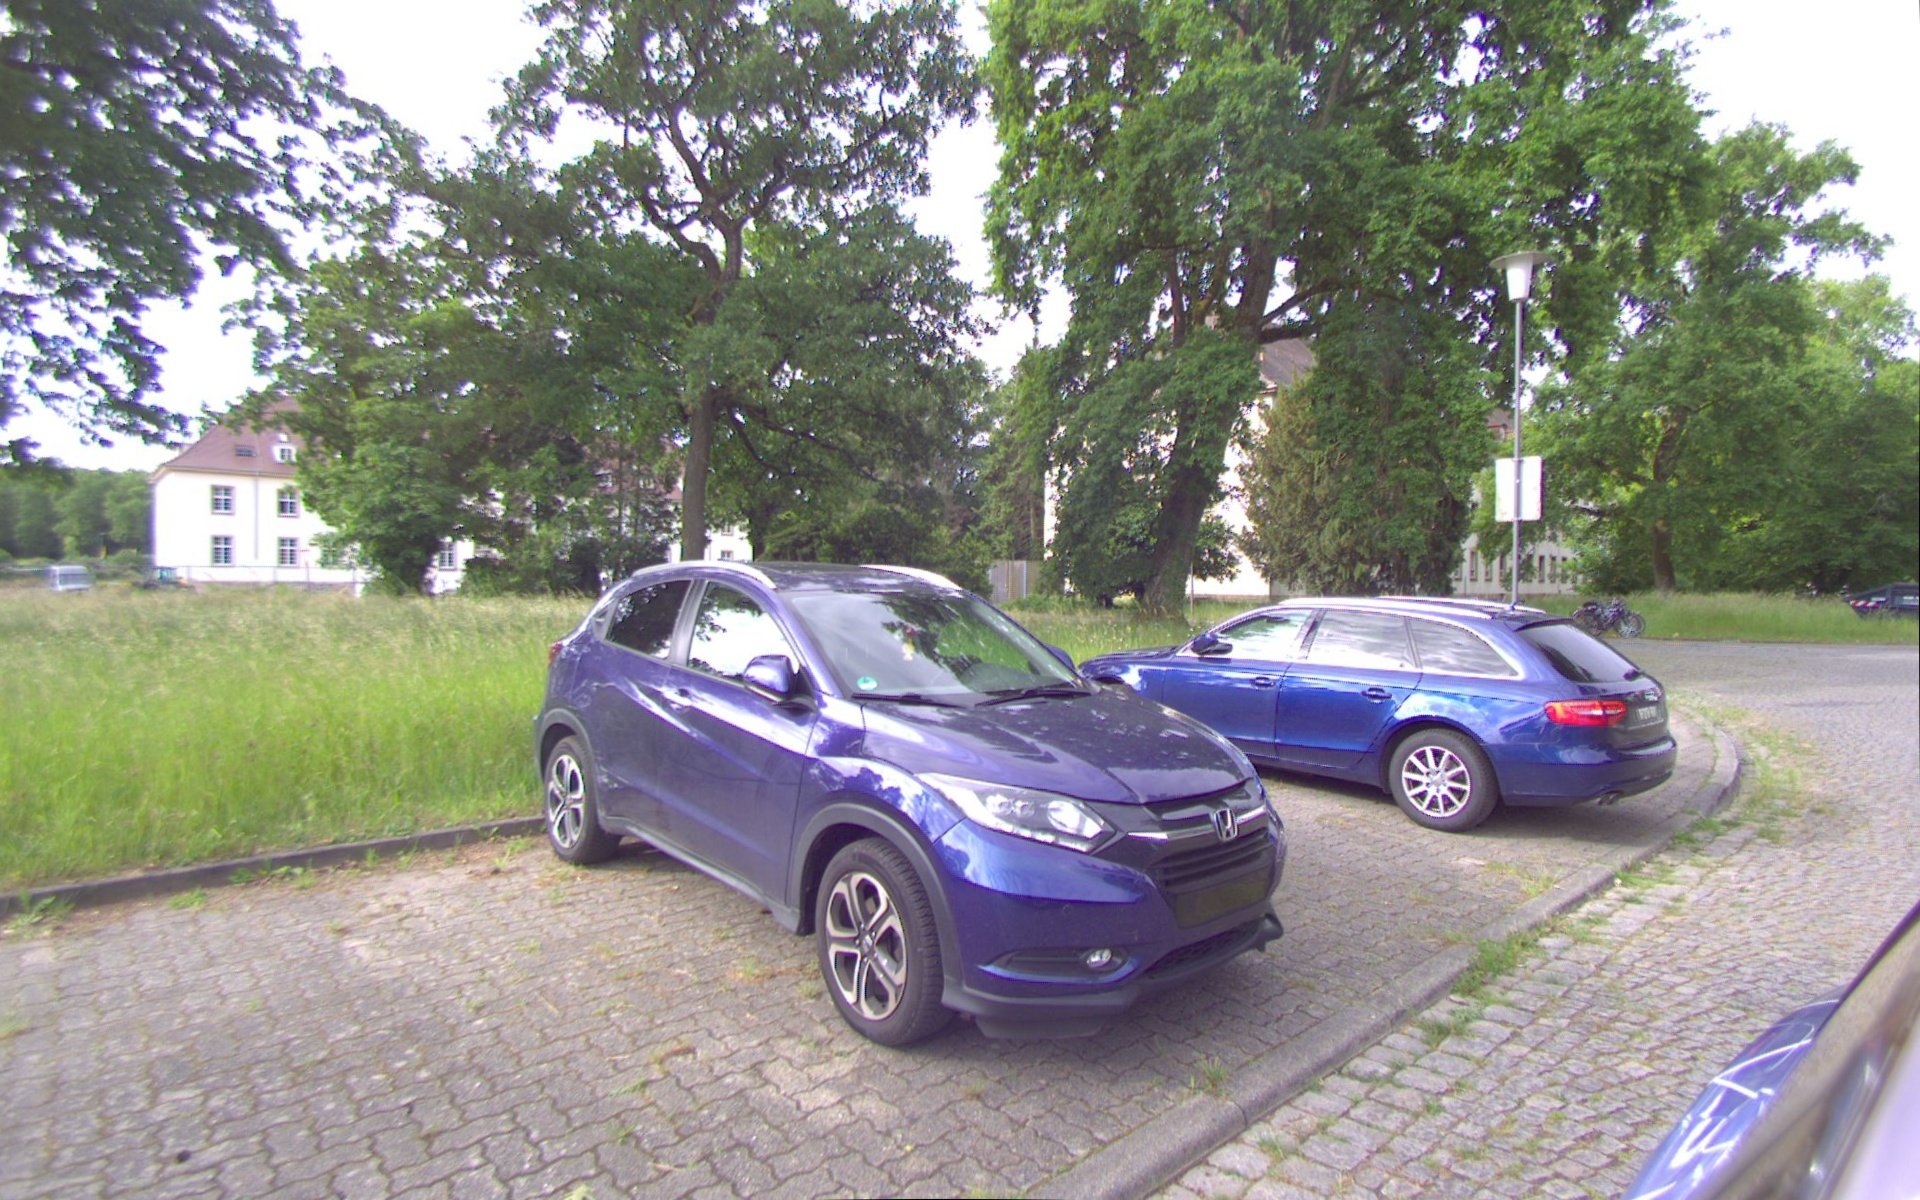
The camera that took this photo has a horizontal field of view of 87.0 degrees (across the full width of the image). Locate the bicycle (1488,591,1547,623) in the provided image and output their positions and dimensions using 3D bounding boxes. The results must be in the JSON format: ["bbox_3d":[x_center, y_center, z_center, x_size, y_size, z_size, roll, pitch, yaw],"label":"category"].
[{"bbox_3d":[20.519,0.260,37.262,1.838,1.137,0.616,0,0,25],"label":"bicycle"}]

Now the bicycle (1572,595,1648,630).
[{"bbox_3d":[20.773,0.401,32.367,1.949,1.090,0.584,0,0,21],"label":"bicycle"}]

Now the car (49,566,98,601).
[{"bbox_3d":[-61.051,-1.110,69.639,4.576,2.377,1.890,0,0,40],"label":"car"}]

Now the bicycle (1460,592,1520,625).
[{"bbox_3d":[18.791,0.301,35.921,1.838,1.137,0.616,0,0,25],"label":"bicycle"}]

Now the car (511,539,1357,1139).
[{"bbox_3d":[-0.518,0.572,4.822,1.763,1.591,4.168,-2,2,-42],"label":"car"}]

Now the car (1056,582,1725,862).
[{"bbox_3d":[2.952,0.635,7.870,1.753,1.439,4.481,0,2,-39],"label":"car"}]

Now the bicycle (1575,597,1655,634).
[{"bbox_3d":[19.983,0.459,30.921,1.949,1.090,0.584,0,0,21],"label":"bicycle"}]

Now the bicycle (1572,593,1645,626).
[{"bbox_3d":[21.898,0.322,34.212,2.008,1.090,0.616,0,0,25],"label":"bicycle"}]

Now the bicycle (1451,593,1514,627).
[{"bbox_3d":[17.537,0.333,33.978,1.838,1.137,0.616,0,0,25],"label":"bicycle"}]

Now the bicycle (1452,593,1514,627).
[{"bbox_3d":[17.840,0.324,34.538,1.838,1.137,0.616,0,0,25],"label":"bicycle"}]

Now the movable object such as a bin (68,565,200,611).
[{"bbox_3d":[-50.414,-0.750,61.935,5.854,2.688,2.179,-1,0,-24],"label":"movable object such as a bin"}]
